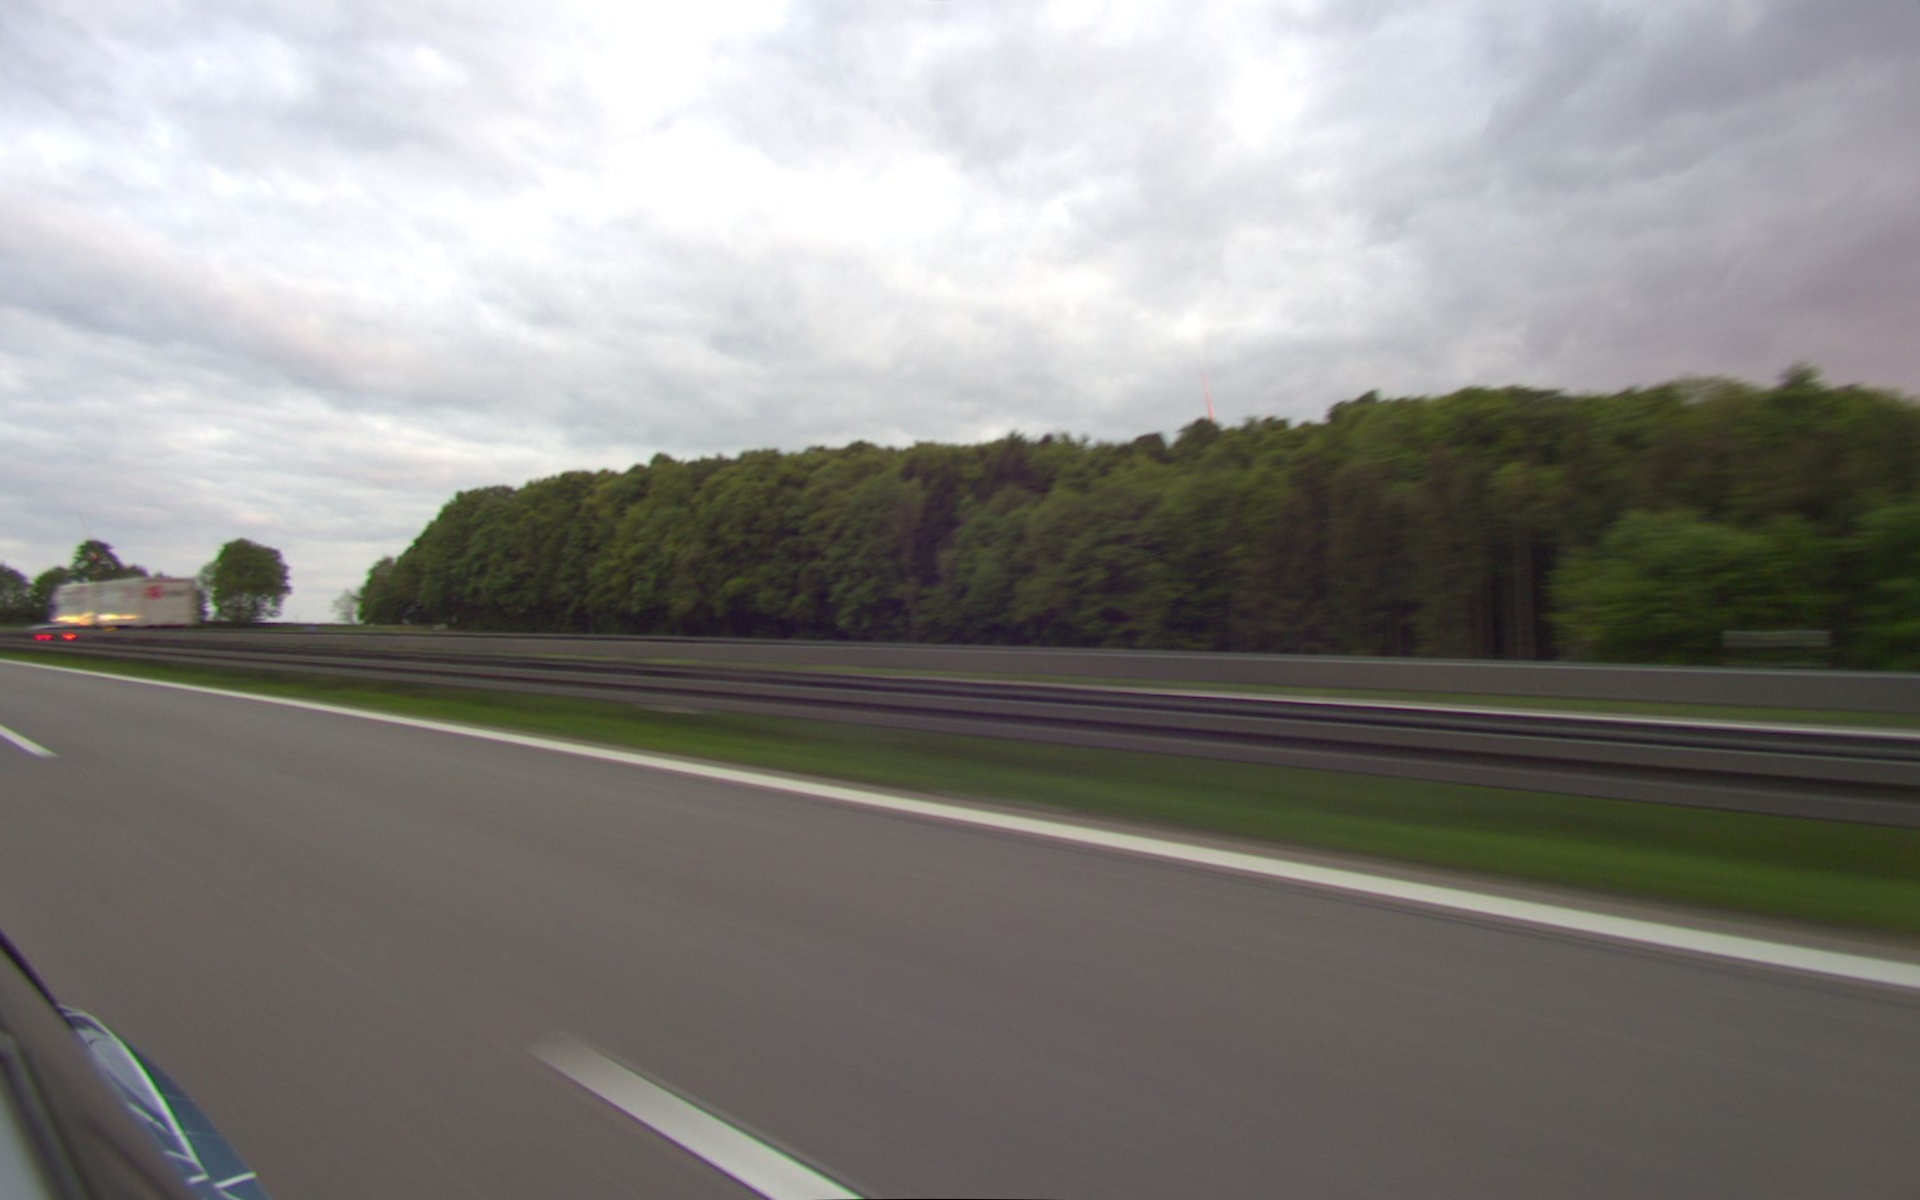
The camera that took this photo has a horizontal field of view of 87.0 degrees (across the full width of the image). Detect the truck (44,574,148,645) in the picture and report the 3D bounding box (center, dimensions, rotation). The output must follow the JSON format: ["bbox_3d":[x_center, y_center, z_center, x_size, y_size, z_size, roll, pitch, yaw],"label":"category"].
[{"bbox_3d":[-55.945,0.683,65.396,10.045,4.313,2.839,-1,-1,36],"label":"truck"}]

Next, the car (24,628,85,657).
[{"bbox_3d":[-49.800,2.312,55.627,4.459,1.546,1.639,-1,-3,37],"label":"car"}]

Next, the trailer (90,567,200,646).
[{"bbox_3d":[-48.141,0.472,59.690,9.275,4.350,2.806,-1,-1,37],"label":"trailer"}]
